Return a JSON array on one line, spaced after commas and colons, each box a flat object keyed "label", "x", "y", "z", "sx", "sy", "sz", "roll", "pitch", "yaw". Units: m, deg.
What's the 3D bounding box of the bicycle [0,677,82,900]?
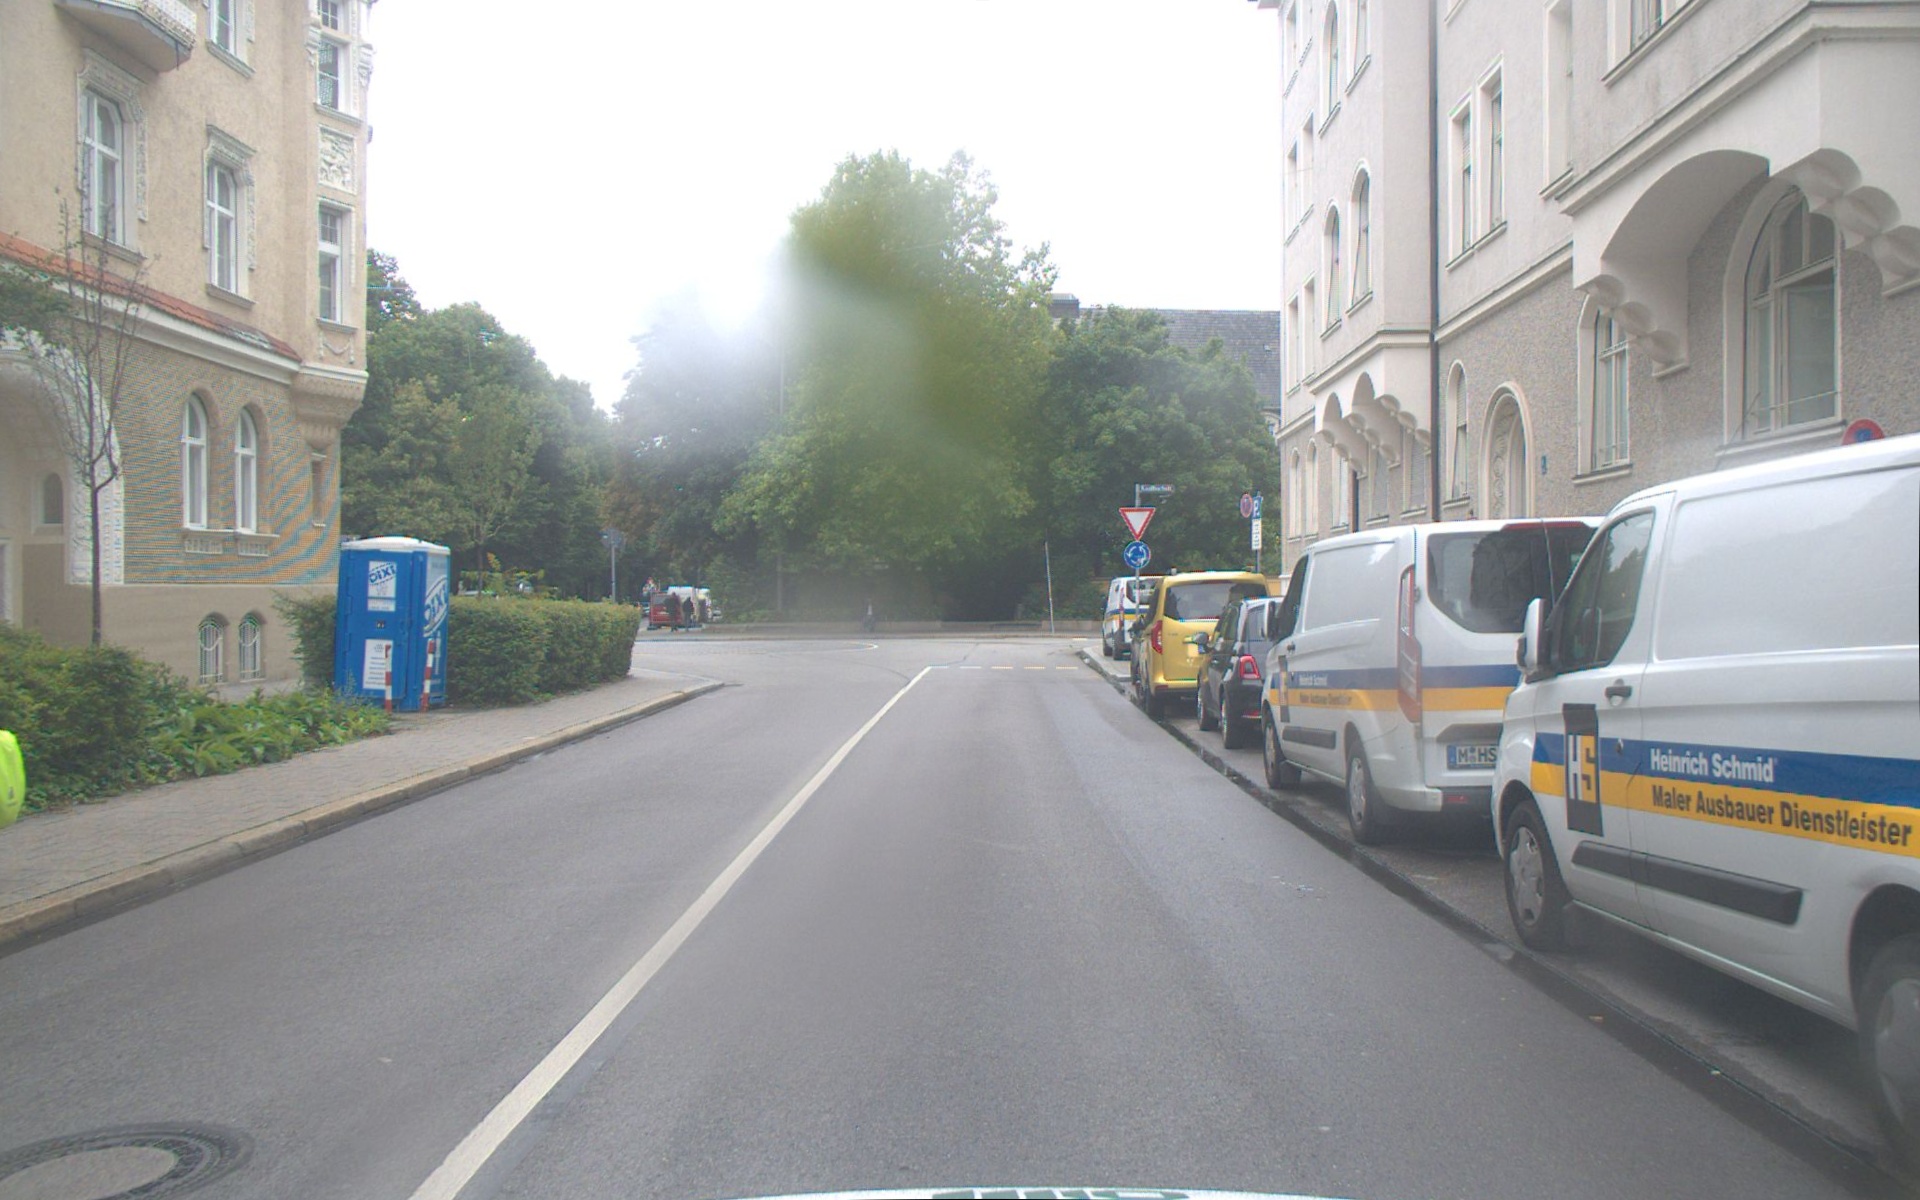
[{"label": "bicycle", "x": -5.299, "y": 0.985, "z": 8.244, "sx": 0.752, "sy": 1.100, "sz": 2.049, "roll": 1, "pitch": 0, "yaw": -1}]

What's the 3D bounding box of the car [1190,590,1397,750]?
[{"label": "car", "x": 3.508, "y": 0.673, "z": 18.001, "sx": 1.599, "sy": 1.540, "sz": 3.886, "roll": 0, "pitch": 0, "yaw": 2}]

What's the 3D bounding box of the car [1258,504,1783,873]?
[{"label": "car", "x": 3.457, "y": 0.474, "z": 11.345, "sx": 1.952, "sy": 1.952, "sz": 4.886, "roll": -1, "pitch": 0, "yaw": 0}]

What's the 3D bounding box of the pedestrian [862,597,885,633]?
[{"label": "pedestrian", "x": -3.355, "y": 0.580, "z": 64.212, "sx": 0.753, "sy": 1.380, "sz": 1.132, "roll": -1, "pitch": 0, "yaw": 3}]

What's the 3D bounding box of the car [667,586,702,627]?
[{"label": "car", "x": -18.247, "y": 0.410, "z": 109.614, "sx": 1.955, "sy": 2.603, "sz": 5.423, "roll": -1, "pitch": 0, "yaw": -6}]

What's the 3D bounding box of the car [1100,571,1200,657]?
[{"label": "car", "x": 4.644, "y": 0.318, "z": 41.161, "sx": 1.898, "sy": 1.955, "sz": 5.375, "roll": -2, "pitch": 0, "yaw": 1}]

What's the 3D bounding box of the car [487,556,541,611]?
[{"label": "car", "x": -25.750, "y": -0.906, "z": 95.688, "sx": 2.131, "sy": 3.055, "sz": 6.223, "roll": -1, "pitch": 0, "yaw": -7}]

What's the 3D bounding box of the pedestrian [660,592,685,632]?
[{"label": "pedestrian", "x": -13.528, "y": 0.557, "z": 77.865, "sx": 0.812, "sy": 1.868, "sz": 0.941, "roll": -1, "pitch": 0, "yaw": -34}]

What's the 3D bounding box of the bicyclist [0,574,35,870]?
[{"label": "bicyclist", "x": -5.285, "y": 0.618, "z": 8.224, "sx": 0.752, "sy": 1.519, "sz": 1.060, "roll": 1, "pitch": 0, "yaw": -1}]

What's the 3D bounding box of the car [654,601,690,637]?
[{"label": "car", "x": -16.361, "y": 1.052, "z": 94.047, "sx": 1.876, "sy": 1.971, "sz": 4.959, "roll": 0, "pitch": 0, "yaw": -8}]

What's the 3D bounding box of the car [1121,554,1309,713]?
[{"label": "car", "x": 3.401, "y": 0.413, "z": 22.910, "sx": 1.952, "sy": 1.952, "sz": 4.571, "roll": -1, "pitch": 0, "yaw": 1}]

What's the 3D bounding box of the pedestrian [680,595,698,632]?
[{"label": "pedestrian", "x": -12.754, "y": 0.636, "z": 77.726, "sx": 0.626, "sy": 1.696, "sz": 0.691, "roll": -1, "pitch": 0, "yaw": -29}]

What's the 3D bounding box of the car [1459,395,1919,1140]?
[{"label": "car", "x": 3.463, "y": 0.427, "z": 5.651, "sx": 1.953, "sy": 1.952, "sz": 4.877, "roll": -1, "pitch": 0, "yaw": -1}]
